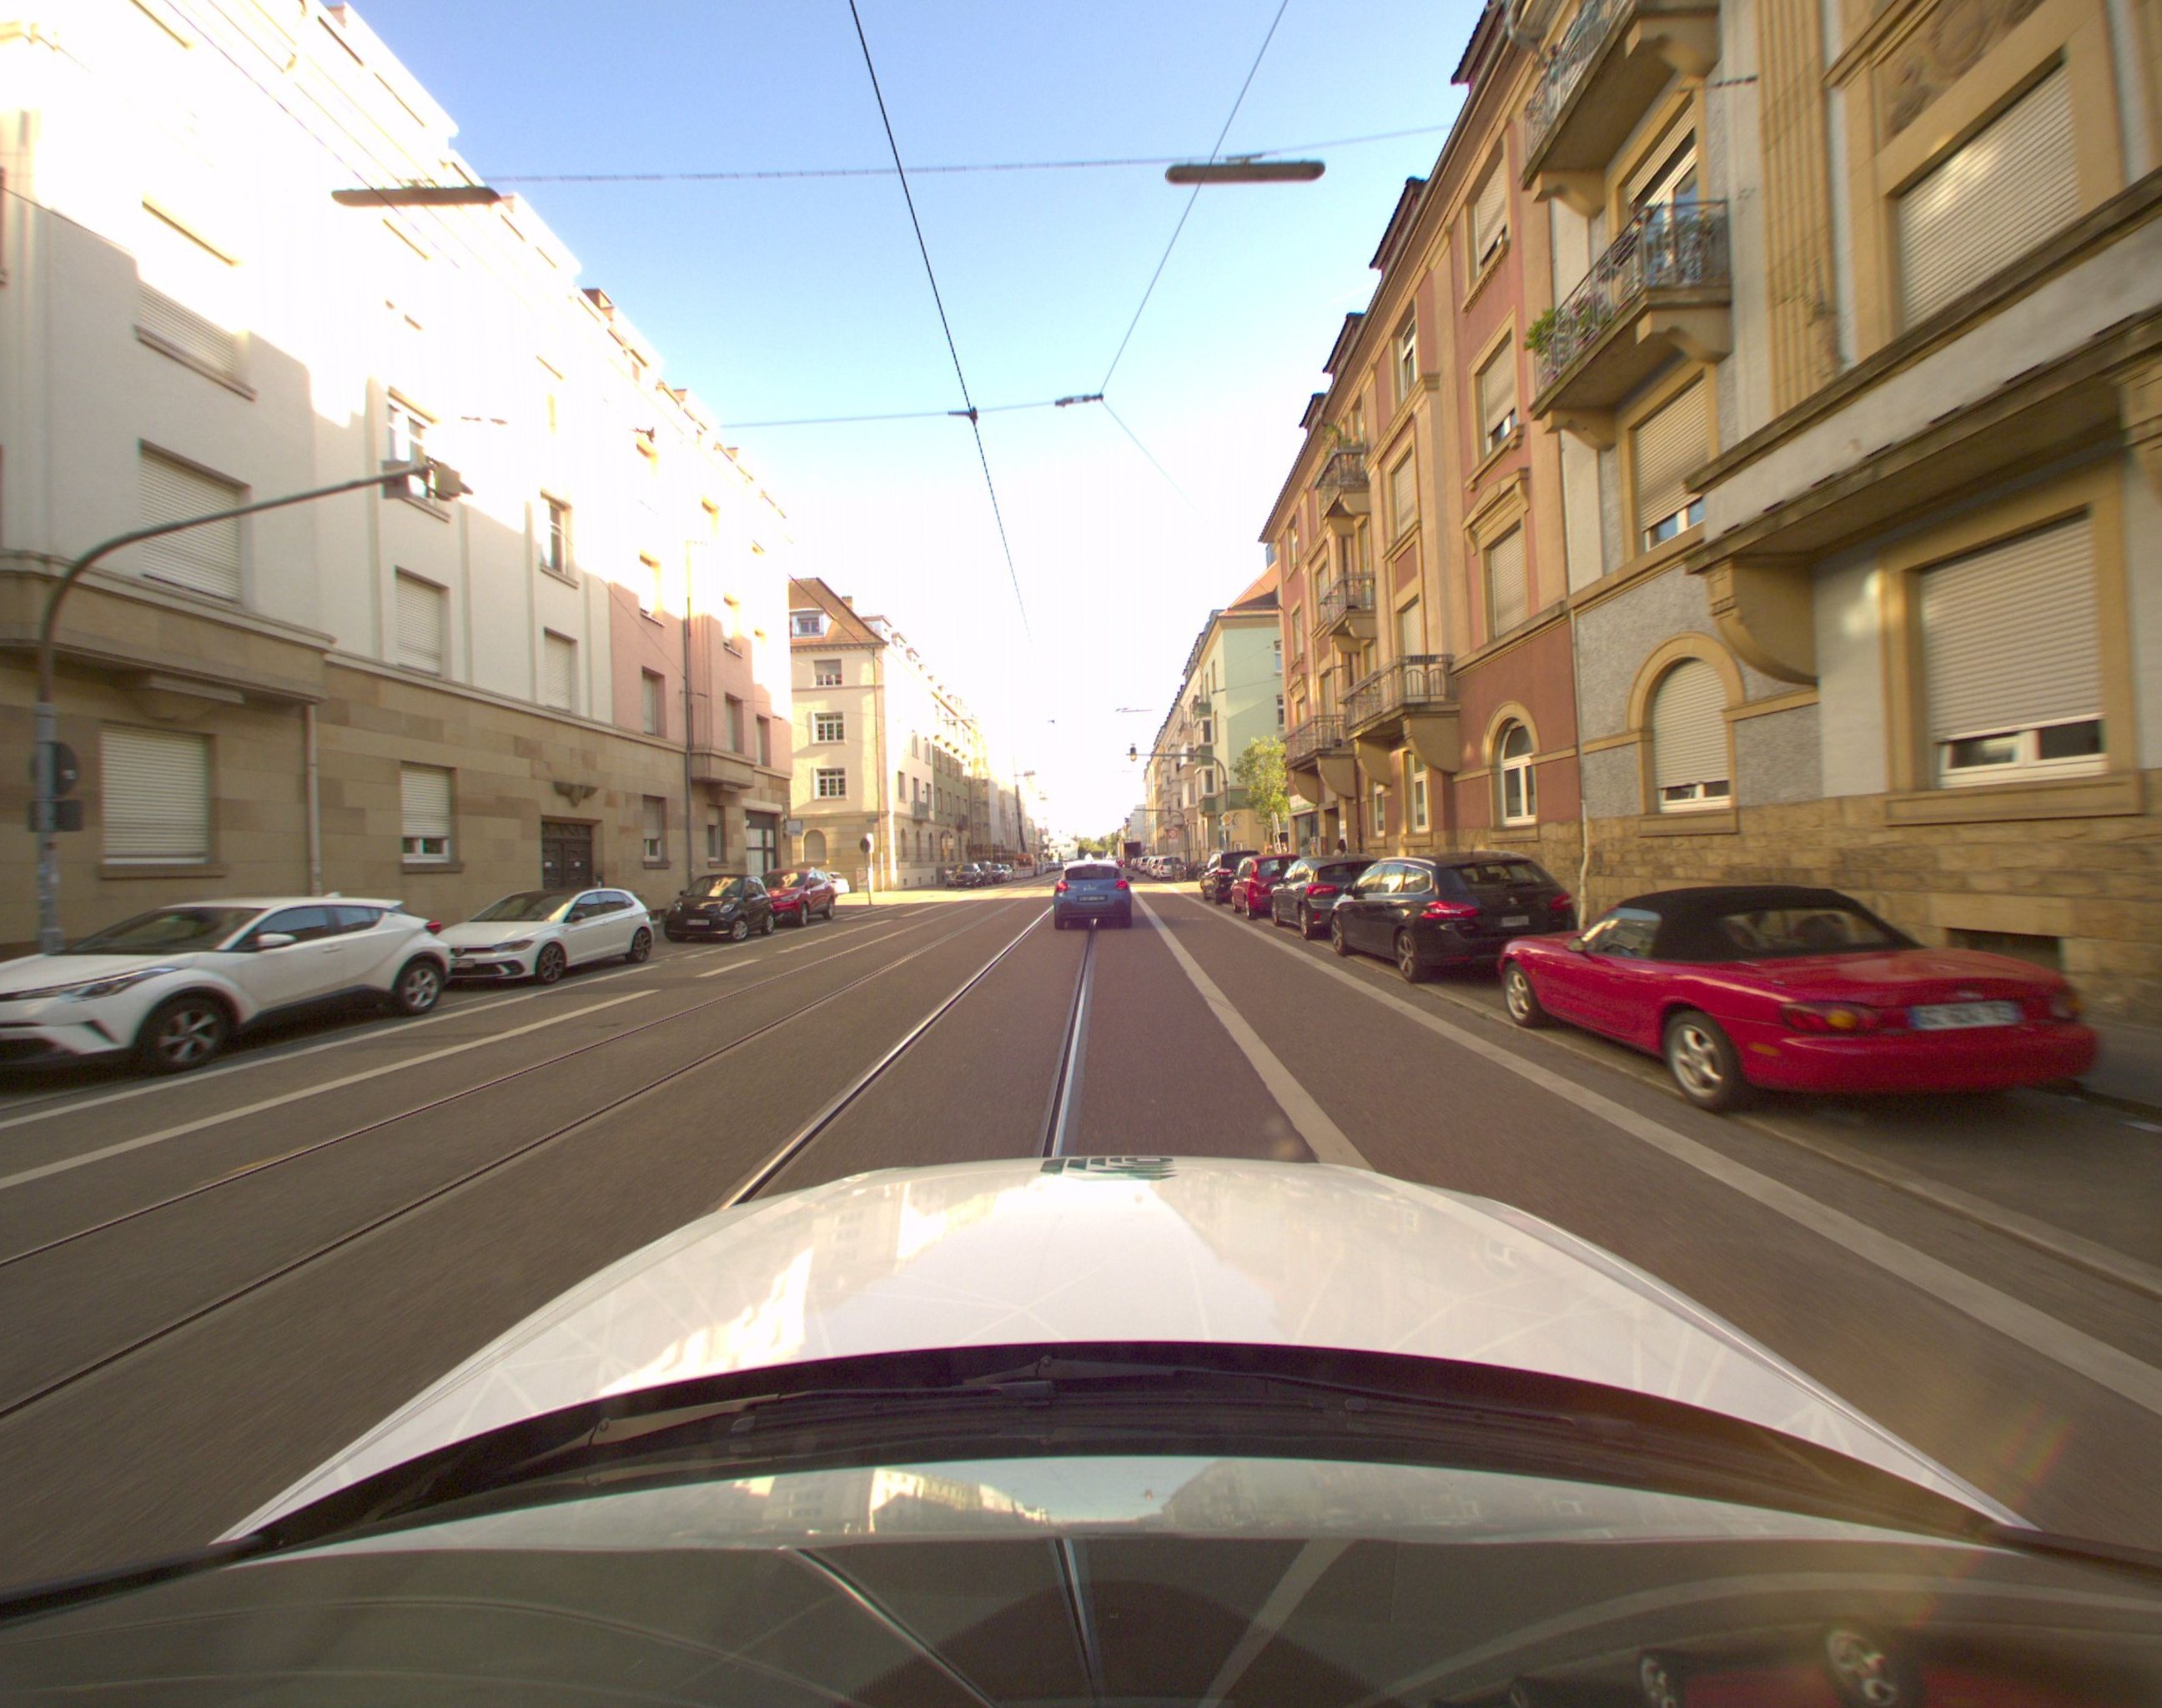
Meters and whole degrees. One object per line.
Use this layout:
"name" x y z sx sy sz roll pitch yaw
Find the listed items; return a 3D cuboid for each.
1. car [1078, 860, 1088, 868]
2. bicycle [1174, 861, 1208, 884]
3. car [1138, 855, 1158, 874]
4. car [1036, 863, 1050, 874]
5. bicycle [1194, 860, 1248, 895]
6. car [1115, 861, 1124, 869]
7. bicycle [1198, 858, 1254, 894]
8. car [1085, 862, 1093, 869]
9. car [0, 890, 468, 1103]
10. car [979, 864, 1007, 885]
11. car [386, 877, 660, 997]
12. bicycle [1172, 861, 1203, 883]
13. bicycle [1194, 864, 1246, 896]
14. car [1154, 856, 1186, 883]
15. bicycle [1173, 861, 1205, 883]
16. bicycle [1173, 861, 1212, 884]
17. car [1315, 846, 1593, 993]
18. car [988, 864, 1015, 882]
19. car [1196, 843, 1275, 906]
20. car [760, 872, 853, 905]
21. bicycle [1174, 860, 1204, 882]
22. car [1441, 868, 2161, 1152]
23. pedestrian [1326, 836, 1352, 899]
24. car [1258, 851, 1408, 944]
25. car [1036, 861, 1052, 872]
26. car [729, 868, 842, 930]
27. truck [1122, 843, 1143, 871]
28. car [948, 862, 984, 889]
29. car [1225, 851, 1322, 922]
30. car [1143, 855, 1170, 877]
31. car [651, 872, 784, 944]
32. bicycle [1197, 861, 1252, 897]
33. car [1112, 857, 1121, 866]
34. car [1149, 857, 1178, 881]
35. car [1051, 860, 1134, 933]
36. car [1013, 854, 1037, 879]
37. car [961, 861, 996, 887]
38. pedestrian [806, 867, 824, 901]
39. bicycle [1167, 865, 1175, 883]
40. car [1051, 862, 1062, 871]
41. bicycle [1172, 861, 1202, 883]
"car" 0.390 2.014 163.238 1.819 1.632 4.492 -3 -1 2
"bicycle" 6.378 1.086 47.240 1.836 1.154 0.469 -6 -1 2
"car" 6.845 1.092 83.286 1.724 1.827 4.688 -3 -1 2
"car" -5.666 2.136 122.468 1.707 1.594 4.269 -3 -1 2
"bicycle" 5.460 0.892 31.728 1.952 1.227 0.527 -4 -1 1
"car" 7.465 2.091 158.686 1.758 1.487 4.033 -3 -1 2
"bicycle" 5.445 0.833 30.596 1.952 1.227 0.527 -4 -1 1
"car" 2.181 2.967 212.477 1.819 1.632 4.492 -3 -1 2
"car" -9.121 1.250 8.757 1.766 1.547 4.365 -1 0 0
"car" -7.104 1.628 66.370 1.777 1.627 4.608 -1 0 0
"car" -9.142 1.256 13.861 1.777 1.622 4.178 -1 0 0
"bicycle" 6.433 1.069 49.025 1.716 1.154 0.469 -6 -1 2
"bicycle" 5.523 1.026 32.306 1.916 1.161 0.527 -4 -1 1
"car" 5.879 1.007 54.264 1.777 1.632 4.002 -3 -1 2
"bicycle" 6.432 1.065 48.478 1.716 1.154 0.469 -6 -1 2
"bicycle" 6.374 1.056 46.553 2.078 1.154 0.848 -5 -1 2
"car" 4.580 0.702 10.839 1.648 1.483 4.474 -2 0 1
"car" -7.002 1.705 72.277 1.711 1.502 4.391 -1 0 3
"car" 4.996 0.631 26.927 1.746 1.735 4.509 -6 -1 2
"car" -14.445 1.803 42.932 4.202 1.465 1.783 -2 1 0
"bicycle" 6.595 1.059 49.702 1.716 1.154 0.469 -6 -1 2
"car" 4.412 0.788 6.140 1.647 1.249 4.510 -2 0 4
"pedestrian" 7.080 0.377 22.331 0.511 1.687 0.448 -2 -1 1
"car" 4.752 0.752 16.019 1.648 1.513 4.476 -2 0 2
"car" -5.875 1.956 130.319 2.137 1.621 4.001 -3 0 1
"car" -8.652 1.250 24.280 1.777 1.606 4.396 -1 0 0
"truck" 7.886 0.481 125.331 2.841 4.083 11.279 -3 -1 3
"car" -7.689 1.388 54.731 1.777 1.690 4.666 -1 0 0
"car" 4.822 0.764 20.884 1.746 1.594 3.732 -2 0 3
"car" 6.560 1.016 71.199 1.651 1.752 4.598 -3 -1 -2
"car" -8.696 1.246 19.760 1.776 1.553 3.020 -1 0 2
"bicycle" 5.465 0.947 31.166 1.952 1.227 0.527 -4 -1 1
"car" 9.463 2.016 217.413 2.211 2.284 4.085 -3 -1 2
"car" 6.031 1.092 60.101 1.777 1.576 4.328 -3 -1 2
"car" 0.306 0.895 19.031 1.728 1.507 3.994 -1 0 2
"car" -6.090 1.354 89.359 2.138 2.475 4.979 -3 0 0
"car" -7.537 1.436 60.158 1.776 1.816 4.531 -1 0 3
"pedestrian" -13.558 1.528 41.540 0.604 1.712 0.732 -2 -1 1
"bicycle" 5.472 1.194 49.525 0.351 1.044 1.730 -2 0 3
"car" -4.771 2.310 156.155 1.819 1.632 3.906 -3 -1 1
"bicycle" 6.535 1.094 50.325 1.716 1.154 0.469 -6 -1 2
